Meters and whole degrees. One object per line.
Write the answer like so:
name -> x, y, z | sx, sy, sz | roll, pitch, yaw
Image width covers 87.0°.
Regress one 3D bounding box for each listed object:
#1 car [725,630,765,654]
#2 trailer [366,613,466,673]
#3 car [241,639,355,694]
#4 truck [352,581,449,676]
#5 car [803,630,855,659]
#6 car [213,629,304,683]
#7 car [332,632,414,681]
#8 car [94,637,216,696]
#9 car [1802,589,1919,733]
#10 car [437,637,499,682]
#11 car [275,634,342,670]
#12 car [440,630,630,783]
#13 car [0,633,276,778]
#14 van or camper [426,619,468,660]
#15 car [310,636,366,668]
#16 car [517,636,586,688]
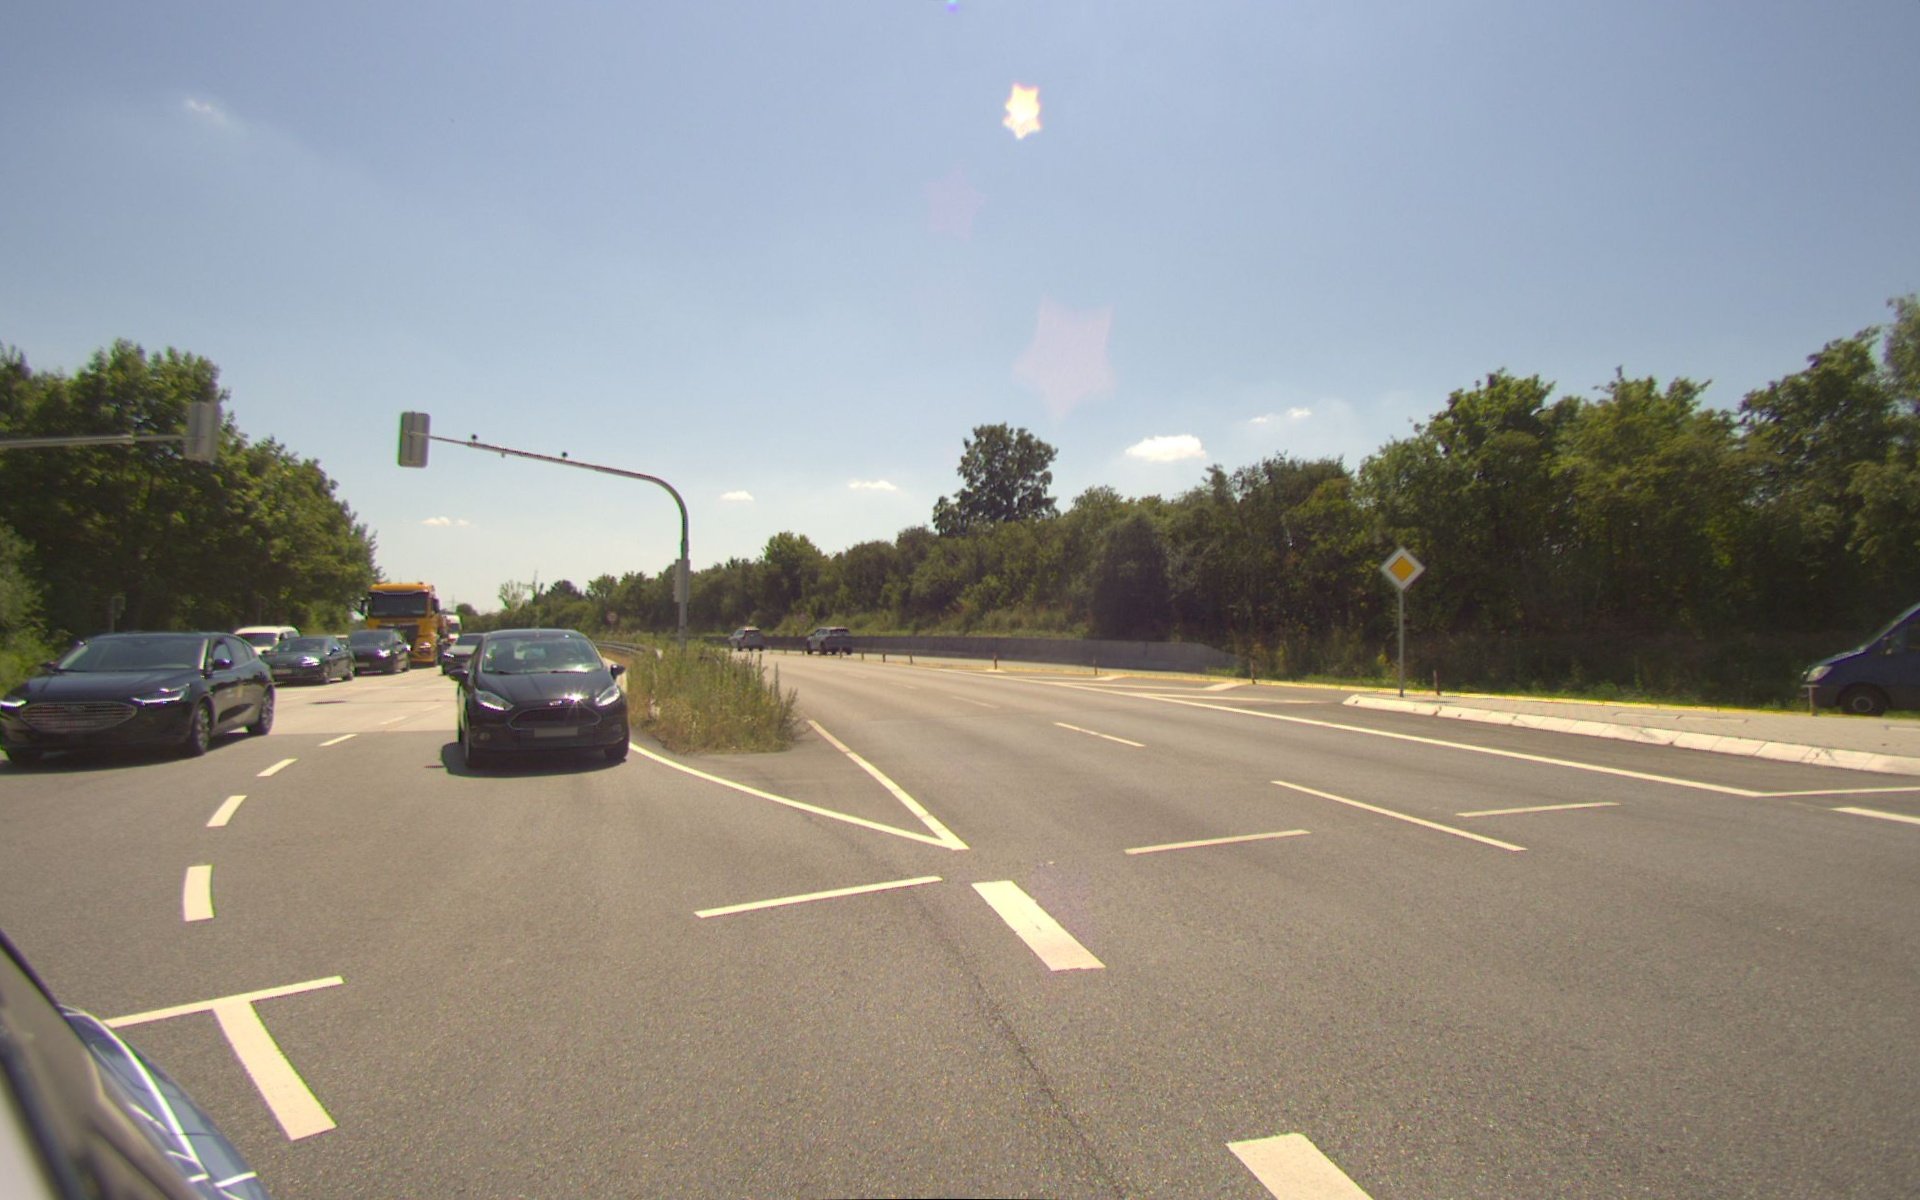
car -> -16.667, 3.238, 78.292 | 1.965, 1.786, 4.873 | 1, -2, -24
trailer -> -27.880, 2.208, 52.623 | 2.984, 2.613, 16.409 | 0, -2, -23
car -> -19.185, 1.873, 29.542 | 1.743, 1.421, 4.624 | 0, -2, -20
truck -> -24.615, 1.277, 44.874 | 2.971, 3.801, 7.494 | 0, -2, -23
car -> -7.944, 2.664, 61.021 | 1.965, 1.705, 4.672 | 1, -2, -22
car -> -25.754, 2.005, 37.343 | 1.742, 1.821, 4.808 | 0, -2, -22
car -> -21.151, 1.989, 36.628 | 1.758, 1.652, 4.662 | 0, -2, -20
car -> -22.877, 1.848, 28.913 | 1.742, 1.521, 3.663 | 0, -2, -22
car -> 19.794, 1.143, 19.116 | 5.894, 2.725, 2.037 | -2, -2, 41
car -> -17.635, 2.097, 36.407 | 1.859, 1.475, 4.013 | 0, -2, -24
car -> -28.491, 2.233, 44.393 | 1.742, 1.473, 4.378 | 0, -2, -23
car -> -5.209, 1.116, 12.111 | 1.600, 1.496, 4.012 | 1, -2, -30
car -> -9.983, 1.160, 12.472 | 1.702, 1.450, 4.317 | 0, -2, -22
van or camper -> -33.611, 2.549, 66.472 | 2.034, 2.593, 5.927 | 0, -2, -23
car -> -30.494, 2.525, 49.725 | 1.742, 1.473, 4.613 | 0, -2, -24
car -> -12.664, 1.865, 31.580 | 1.678, 1.475, 4.012 | 0, -2, -17
